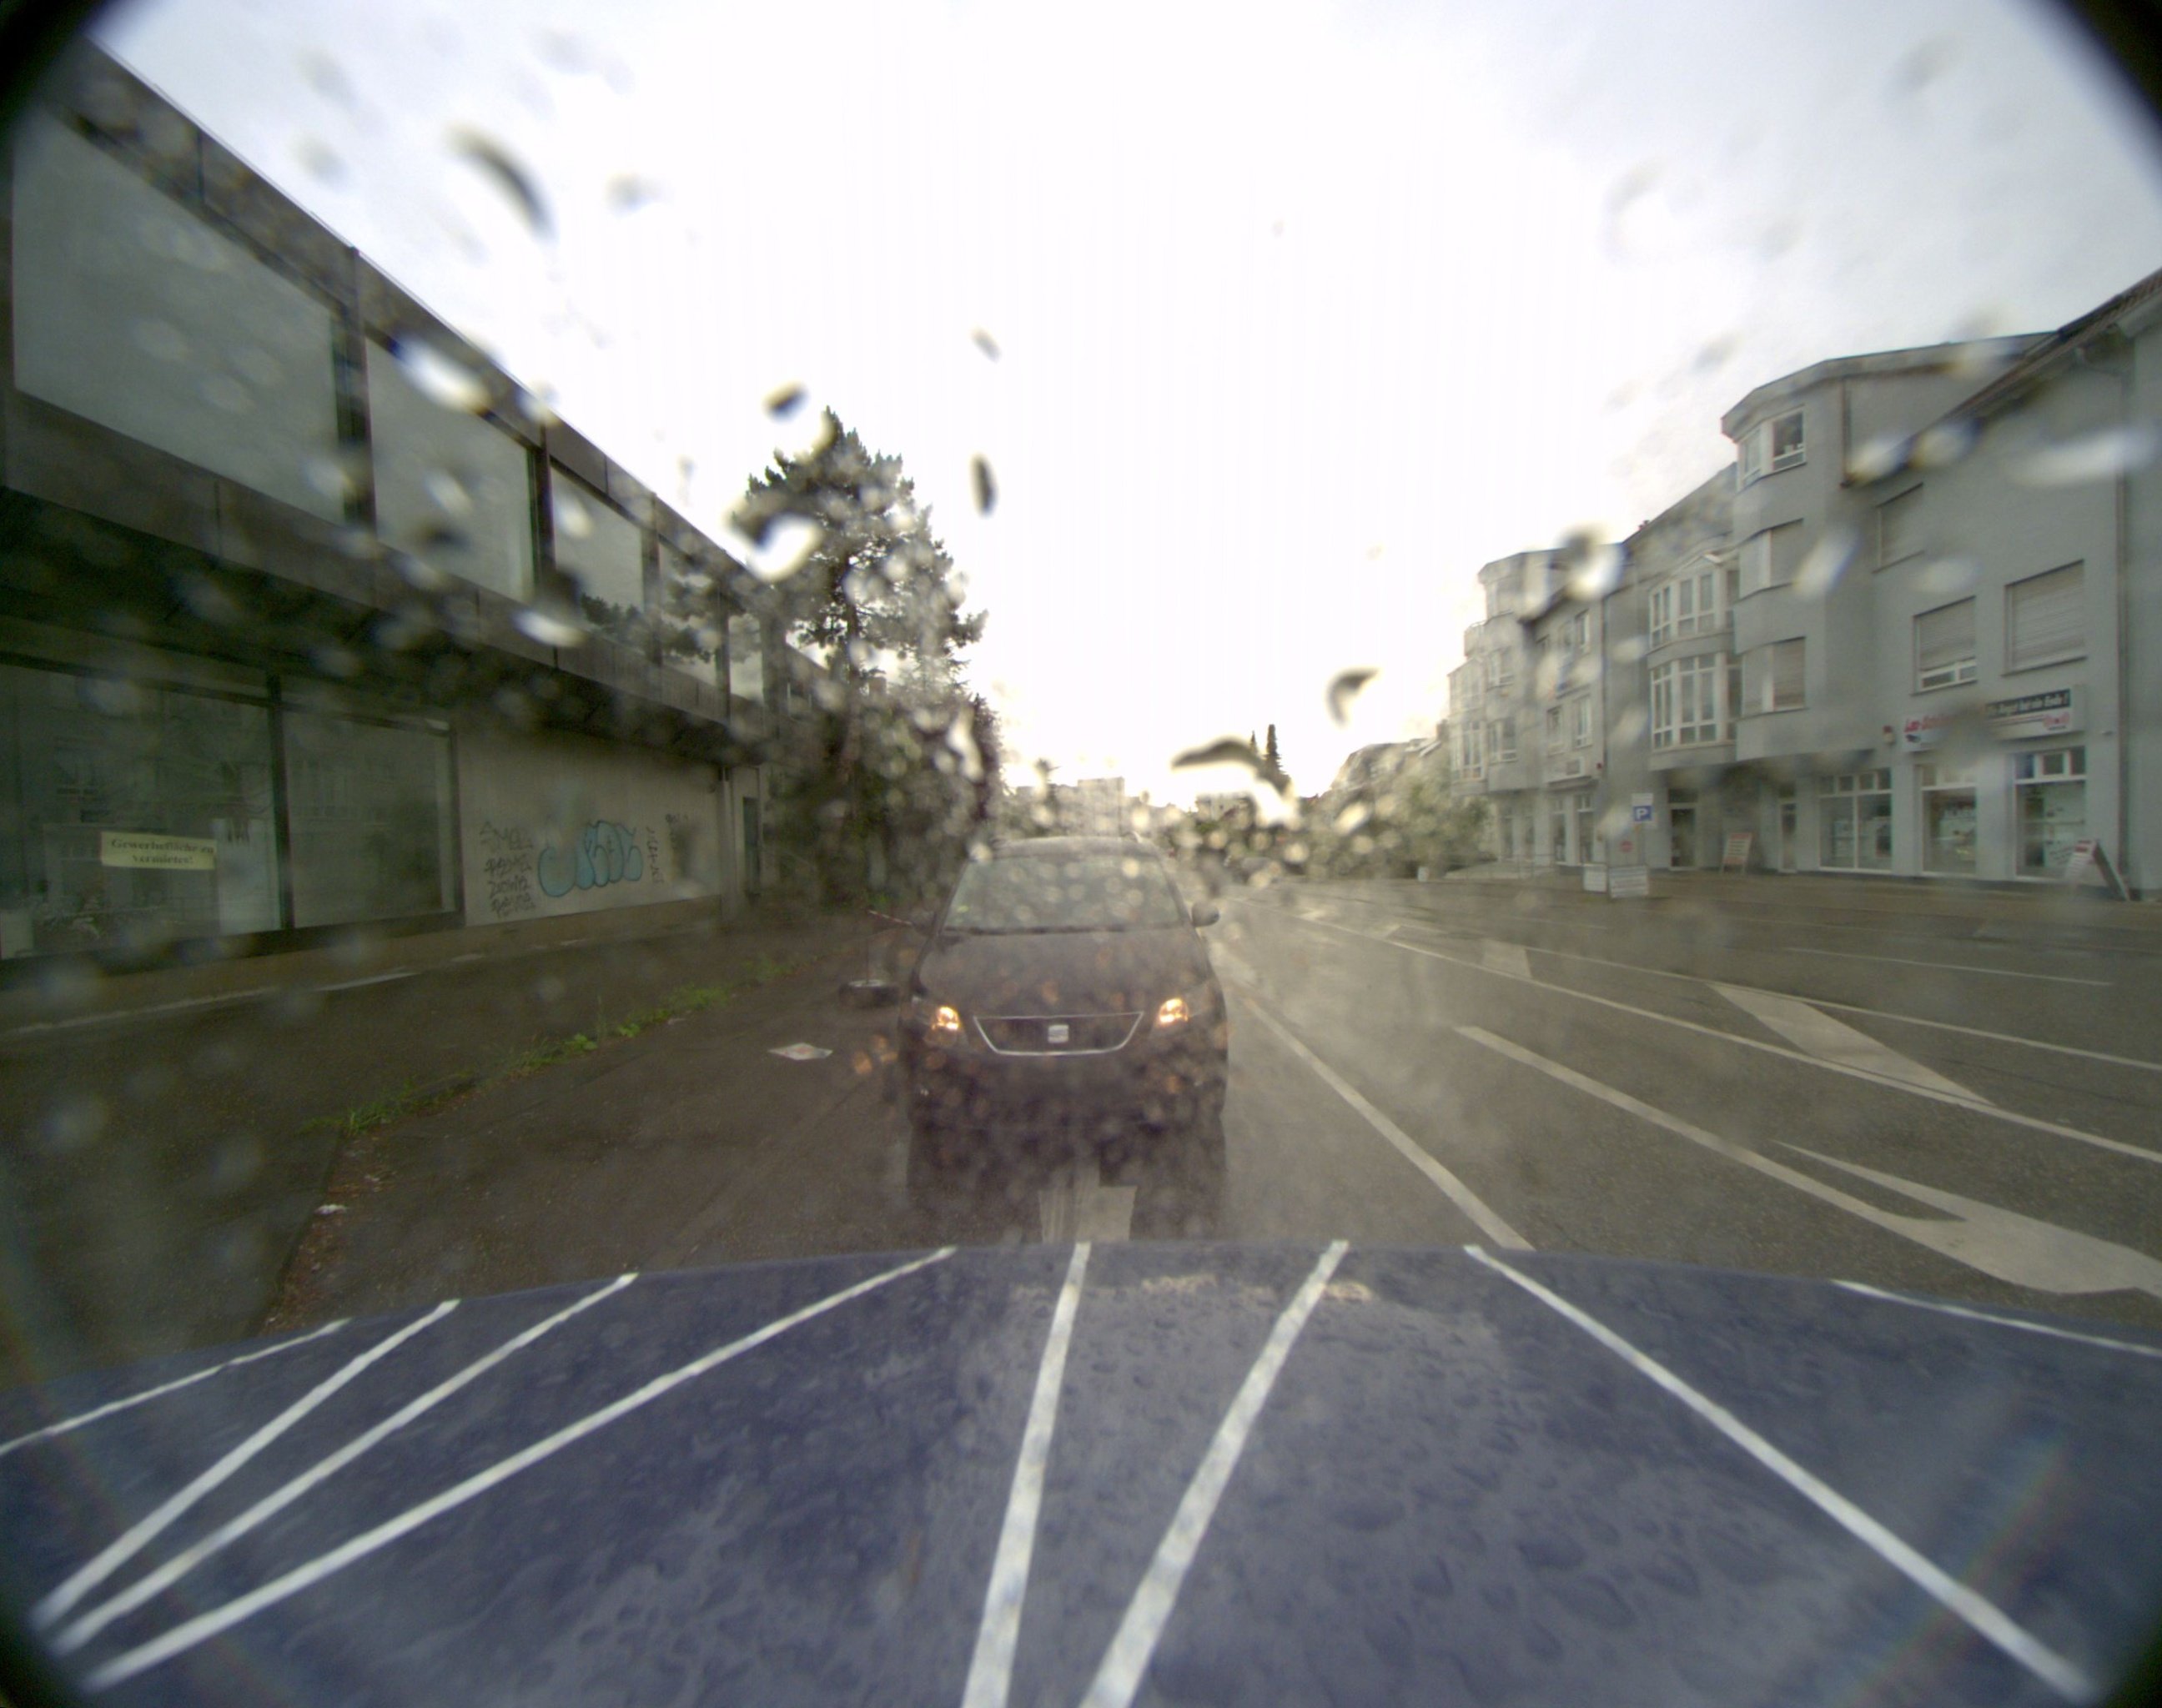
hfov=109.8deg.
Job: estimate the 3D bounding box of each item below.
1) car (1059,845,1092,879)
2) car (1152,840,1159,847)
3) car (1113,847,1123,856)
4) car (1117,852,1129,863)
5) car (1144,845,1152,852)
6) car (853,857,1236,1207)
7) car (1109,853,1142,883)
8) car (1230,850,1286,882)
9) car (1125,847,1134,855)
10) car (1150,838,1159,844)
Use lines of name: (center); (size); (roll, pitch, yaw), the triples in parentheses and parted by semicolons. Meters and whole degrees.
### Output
car: (-0.339, 0.469, 50.429); (1.998, 2.072, 3.999); (-2, 1, 1)
car: (22.297, -3.150, 228.241); (1.998, 1.808, 4.001); (-2, 1, 6)
car: (7.731, -0.631, 158.511); (1.998, 1.774, 3.999); (-2, 1, 1)
car: (7.277, 0.543, 131.799); (1.998, 1.723, 3.999); (-2, 1, 1)
car: (19.165, -1.655, 217.301); (1.997, 2.002, 4.002); (-2, 1, 8)
car: (-0.138, 0.843, 5.875); (1.754, 1.534, 4.676); (-1, 1, 1)
car: (2.738, 0.827, 47.674); (1.803, 1.675, 3.999); (-2, 1, 1)
car: (10.035, 0.629, 43.515); (1.999, 1.615, 4.537); (-2, 1, -1)
car: (12.261, -0.806, 191.934); (1.997, 1.808, 4.002); (-2, 1, 8)
car: (23.475, -4.067, 242.229); (1.996, 1.808, 4.003); (-2, 1, 14)
